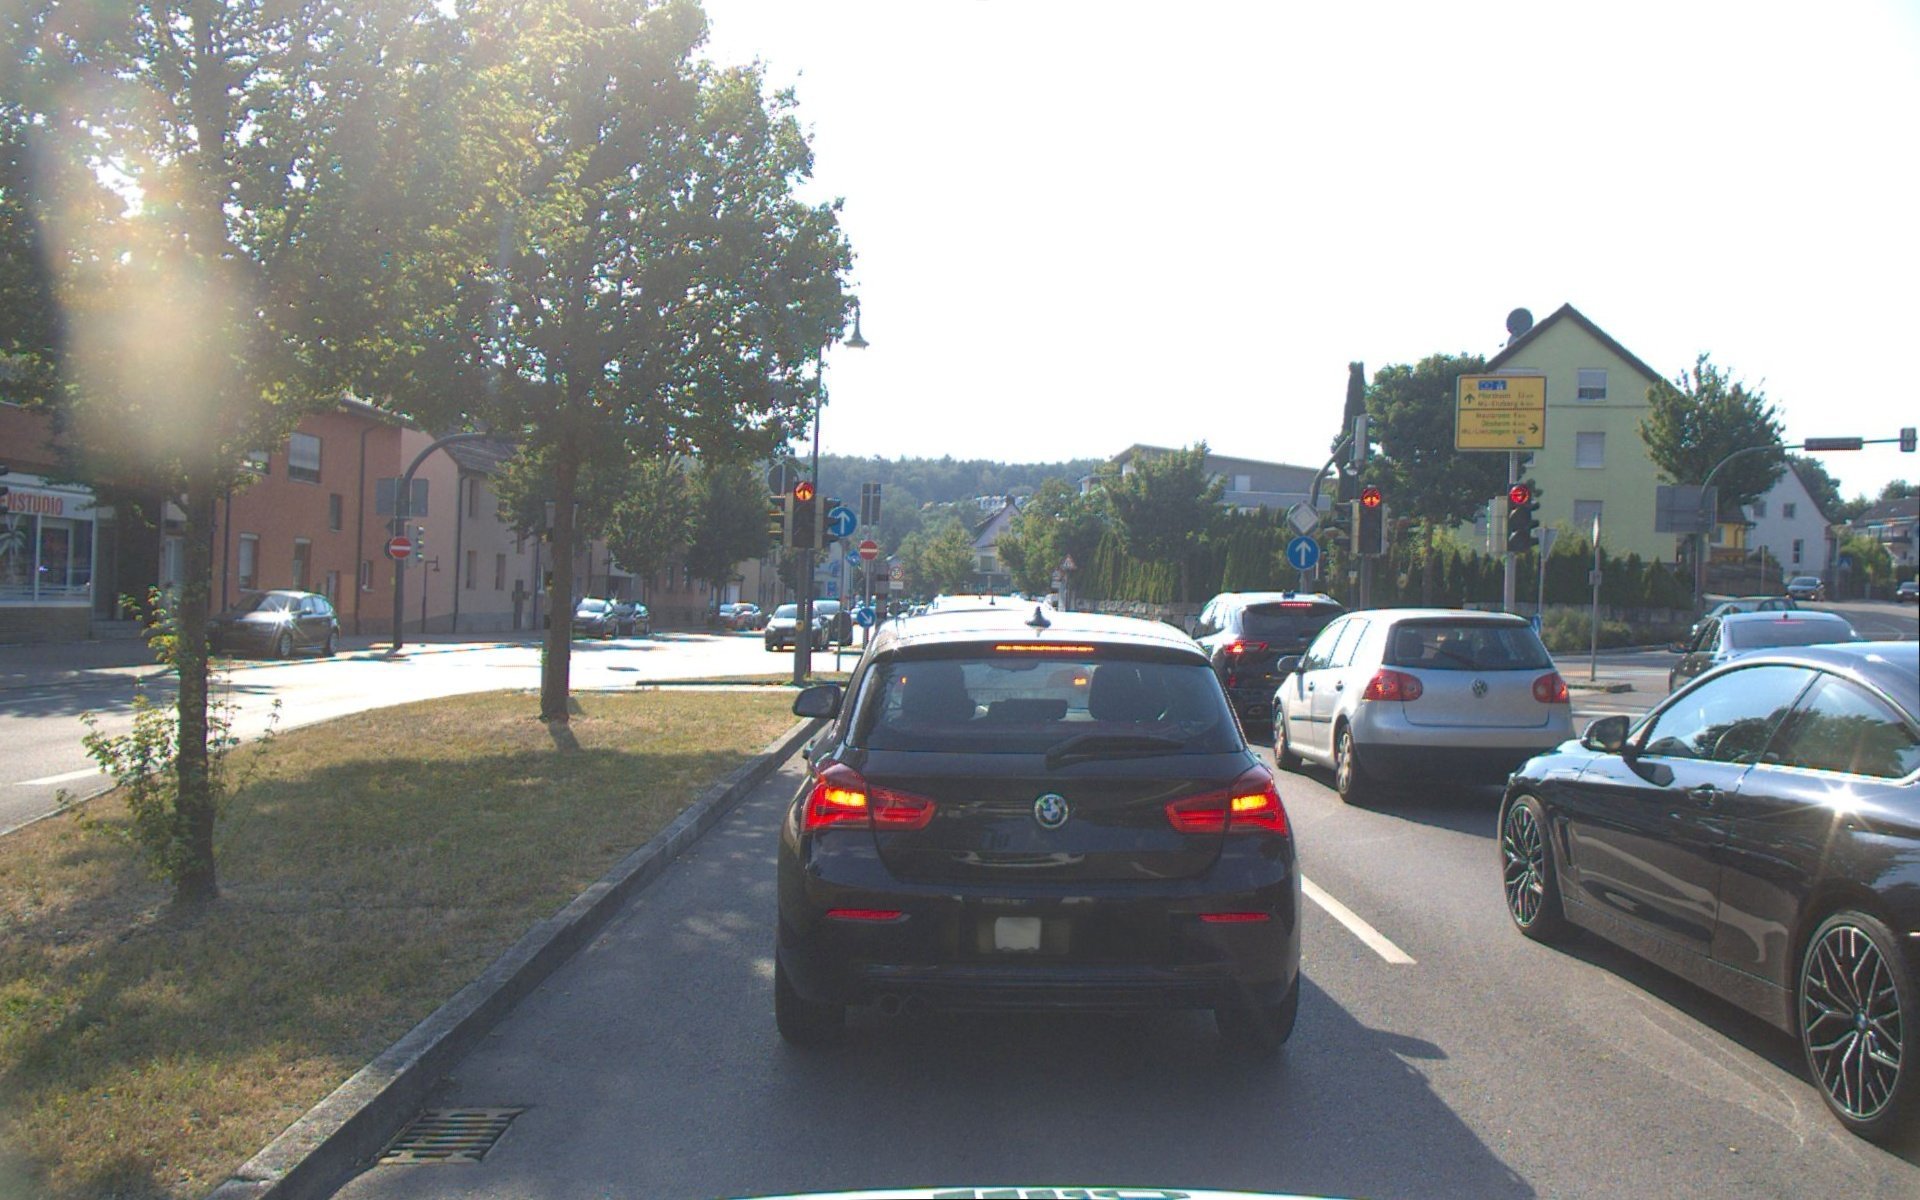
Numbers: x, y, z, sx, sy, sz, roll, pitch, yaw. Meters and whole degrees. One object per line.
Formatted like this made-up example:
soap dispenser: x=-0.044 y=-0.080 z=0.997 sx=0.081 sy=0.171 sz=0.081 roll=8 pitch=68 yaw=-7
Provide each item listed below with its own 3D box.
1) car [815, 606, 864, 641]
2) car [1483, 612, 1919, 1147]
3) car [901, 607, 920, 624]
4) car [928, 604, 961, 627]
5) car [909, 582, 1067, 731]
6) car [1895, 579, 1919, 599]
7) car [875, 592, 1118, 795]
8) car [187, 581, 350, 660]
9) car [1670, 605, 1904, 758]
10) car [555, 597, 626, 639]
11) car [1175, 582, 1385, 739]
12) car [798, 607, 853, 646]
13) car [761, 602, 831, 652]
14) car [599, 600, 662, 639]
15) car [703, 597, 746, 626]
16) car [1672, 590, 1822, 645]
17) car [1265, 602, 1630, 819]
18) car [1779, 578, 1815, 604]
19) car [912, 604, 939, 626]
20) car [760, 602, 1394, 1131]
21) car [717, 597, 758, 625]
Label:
car: x=-4.998 y=0.951 z=69.136 sx=1.658 sy=1.377 sz=4.000 roll=1 pitch=0 yaw=1
car: x=3.472 y=0.782 z=5.896 sx=1.779 sy=1.413 sz=4.346 roll=1 pitch=0 yaw=-1
car: x=-5.041 y=1.564 z=170.071 sx=1.885 sy=1.624 sz=3.999 roll=1 pitch=0 yaw=-1
car: x=-1.082 y=1.064 z=114.111 sx=1.826 sy=1.511 sz=4.652 roll=1 pitch=0 yaw=-6
car: x=0.344 y=0.640 z=20.973 sx=1.779 sy=1.670 sz=4.242 roll=1 pitch=0 yaw=1
car: x=77.057 y=-0.878 z=134.199 sx=1.745 sy=1.607 sz=3.987 roll=1 pitch=0 yaw=34
car: x=0.297 y=0.688 z=14.342 sx=1.779 sy=1.476 sz=4.242 roll=1 pitch=0 yaw=1
car: x=-15.510 y=0.438 z=37.317 sx=1.805 sy=1.579 sz=4.001 roll=3 pitch=0 yaw=2
car: x=9.094 y=0.797 z=18.528 sx=1.646 sy=1.460 sz=4.591 roll=1 pitch=0 yaw=18
car: x=-14.915 y=0.710 z=66.936 sx=1.884 sy=1.624 sz=4.000 roll=1 pitch=0 yaw=1
car: x=3.798 y=0.663 z=20.334 sx=1.779 sy=1.695 sz=4.347 roll=1 pitch=0 yaw=1
car: x=-4.988 y=0.966 z=61.835 sx=1.658 sy=1.377 sz=4.000 roll=1 pitch=0 yaw=1
car: x=-5.211 y=0.831 z=53.022 sx=1.730 sy=1.484 sz=4.000 roll=1 pitch=0 yaw=1
car: x=-14.434 y=0.847 z=72.574 sx=1.884 sy=1.624 sz=4.000 roll=1 pitch=0 yaw=1
car: x=-13.811 y=0.673 z=97.082 sx=1.884 sy=1.624 sz=4.000 roll=1 pitch=0 yaw=1
car: x=22.970 y=0.492 z=48.296 sx=4.001 sy=1.533 sz=1.779 roll=0 pitch=1 yaw=-23
car: x=3.791 y=0.774 z=13.680 sx=1.779 sy=1.471 sz=4.347 roll=1 pitch=0 yaw=1
car: x=47.454 y=-0.526 z=93.787 sx=1.678 sy=1.265 sz=3.995 roll=1 pitch=4 yaw=29
car: x=-2.845 y=1.236 z=135.622 sx=1.854 sy=1.732 sz=4.518 roll=0 pitch=0 yaw=-6
car: x=0.355 y=0.747 z=6.797 sx=1.754 sy=1.439 sz=4.347 roll=1 pitch=0 yaw=1
car: x=-13.764 y=0.663 z=102.588 sx=1.884 sy=1.624 sz=4.000 roll=1 pitch=0 yaw=1
